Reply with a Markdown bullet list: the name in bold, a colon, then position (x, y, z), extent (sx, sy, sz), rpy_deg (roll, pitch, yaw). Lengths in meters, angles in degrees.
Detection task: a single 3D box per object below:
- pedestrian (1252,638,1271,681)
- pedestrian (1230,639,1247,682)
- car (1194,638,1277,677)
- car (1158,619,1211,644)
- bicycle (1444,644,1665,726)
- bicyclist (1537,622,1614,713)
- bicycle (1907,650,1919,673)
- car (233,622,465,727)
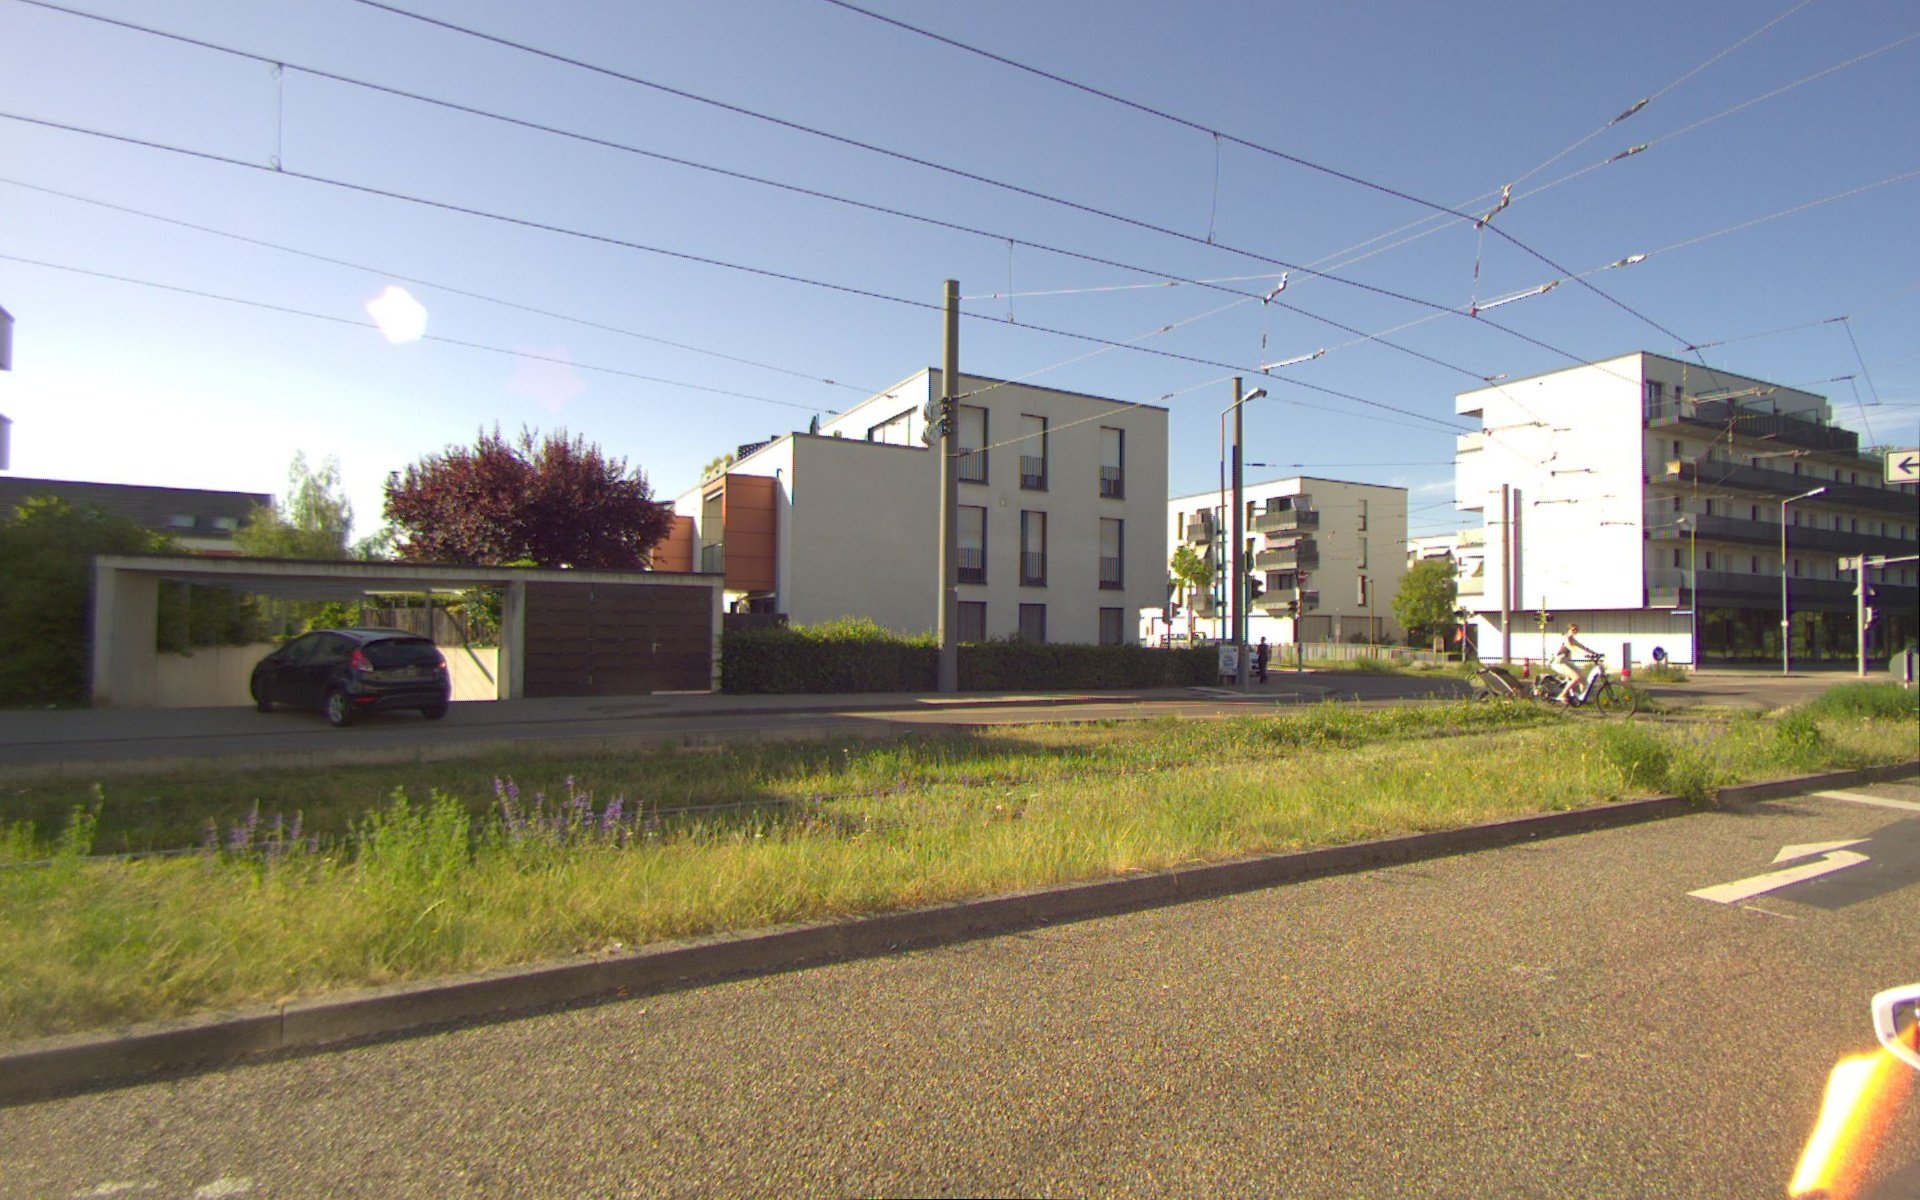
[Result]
- **pedestrian**: position (10.706, 2.089, 35.667), extent (0.548, 1.483, 0.611), rpy_deg (1, 0, 23)
- **pedestrian**: position (9.969, 2.162, 35.952), extent (0.548, 1.483, 0.742), rpy_deg (1, 0, 19)
- **car**: position (12.258, 2.554, 44.842), extent (1.574, 1.674, 3.475), rpy_deg (1, -3, -30)
- **car**: position (17.870, 2.496, 80.136), extent (1.977, 1.862, 3.967), rpy_deg (1, 0, -31)
- **bicycle**: position (11.445, 1.575, 19.585), extent (0.988, 1.190, 3.664), rpy_deg (1, 1, -31)
- **bicyclist**: position (11.724, 1.264, 19.147), extent (0.965, 1.651, 0.905), rpy_deg (1, 0, -32)
- **bicycle**: position (47.297, 2.998, 48.770), extent (1.800, 1.099, 0.969), rpy_deg (1, 0, -6)
- **car**: position (-10.072, 1.161, 16.509), extent (3.674, 1.449, 1.705), rpy_deg (1, -2, 31)
